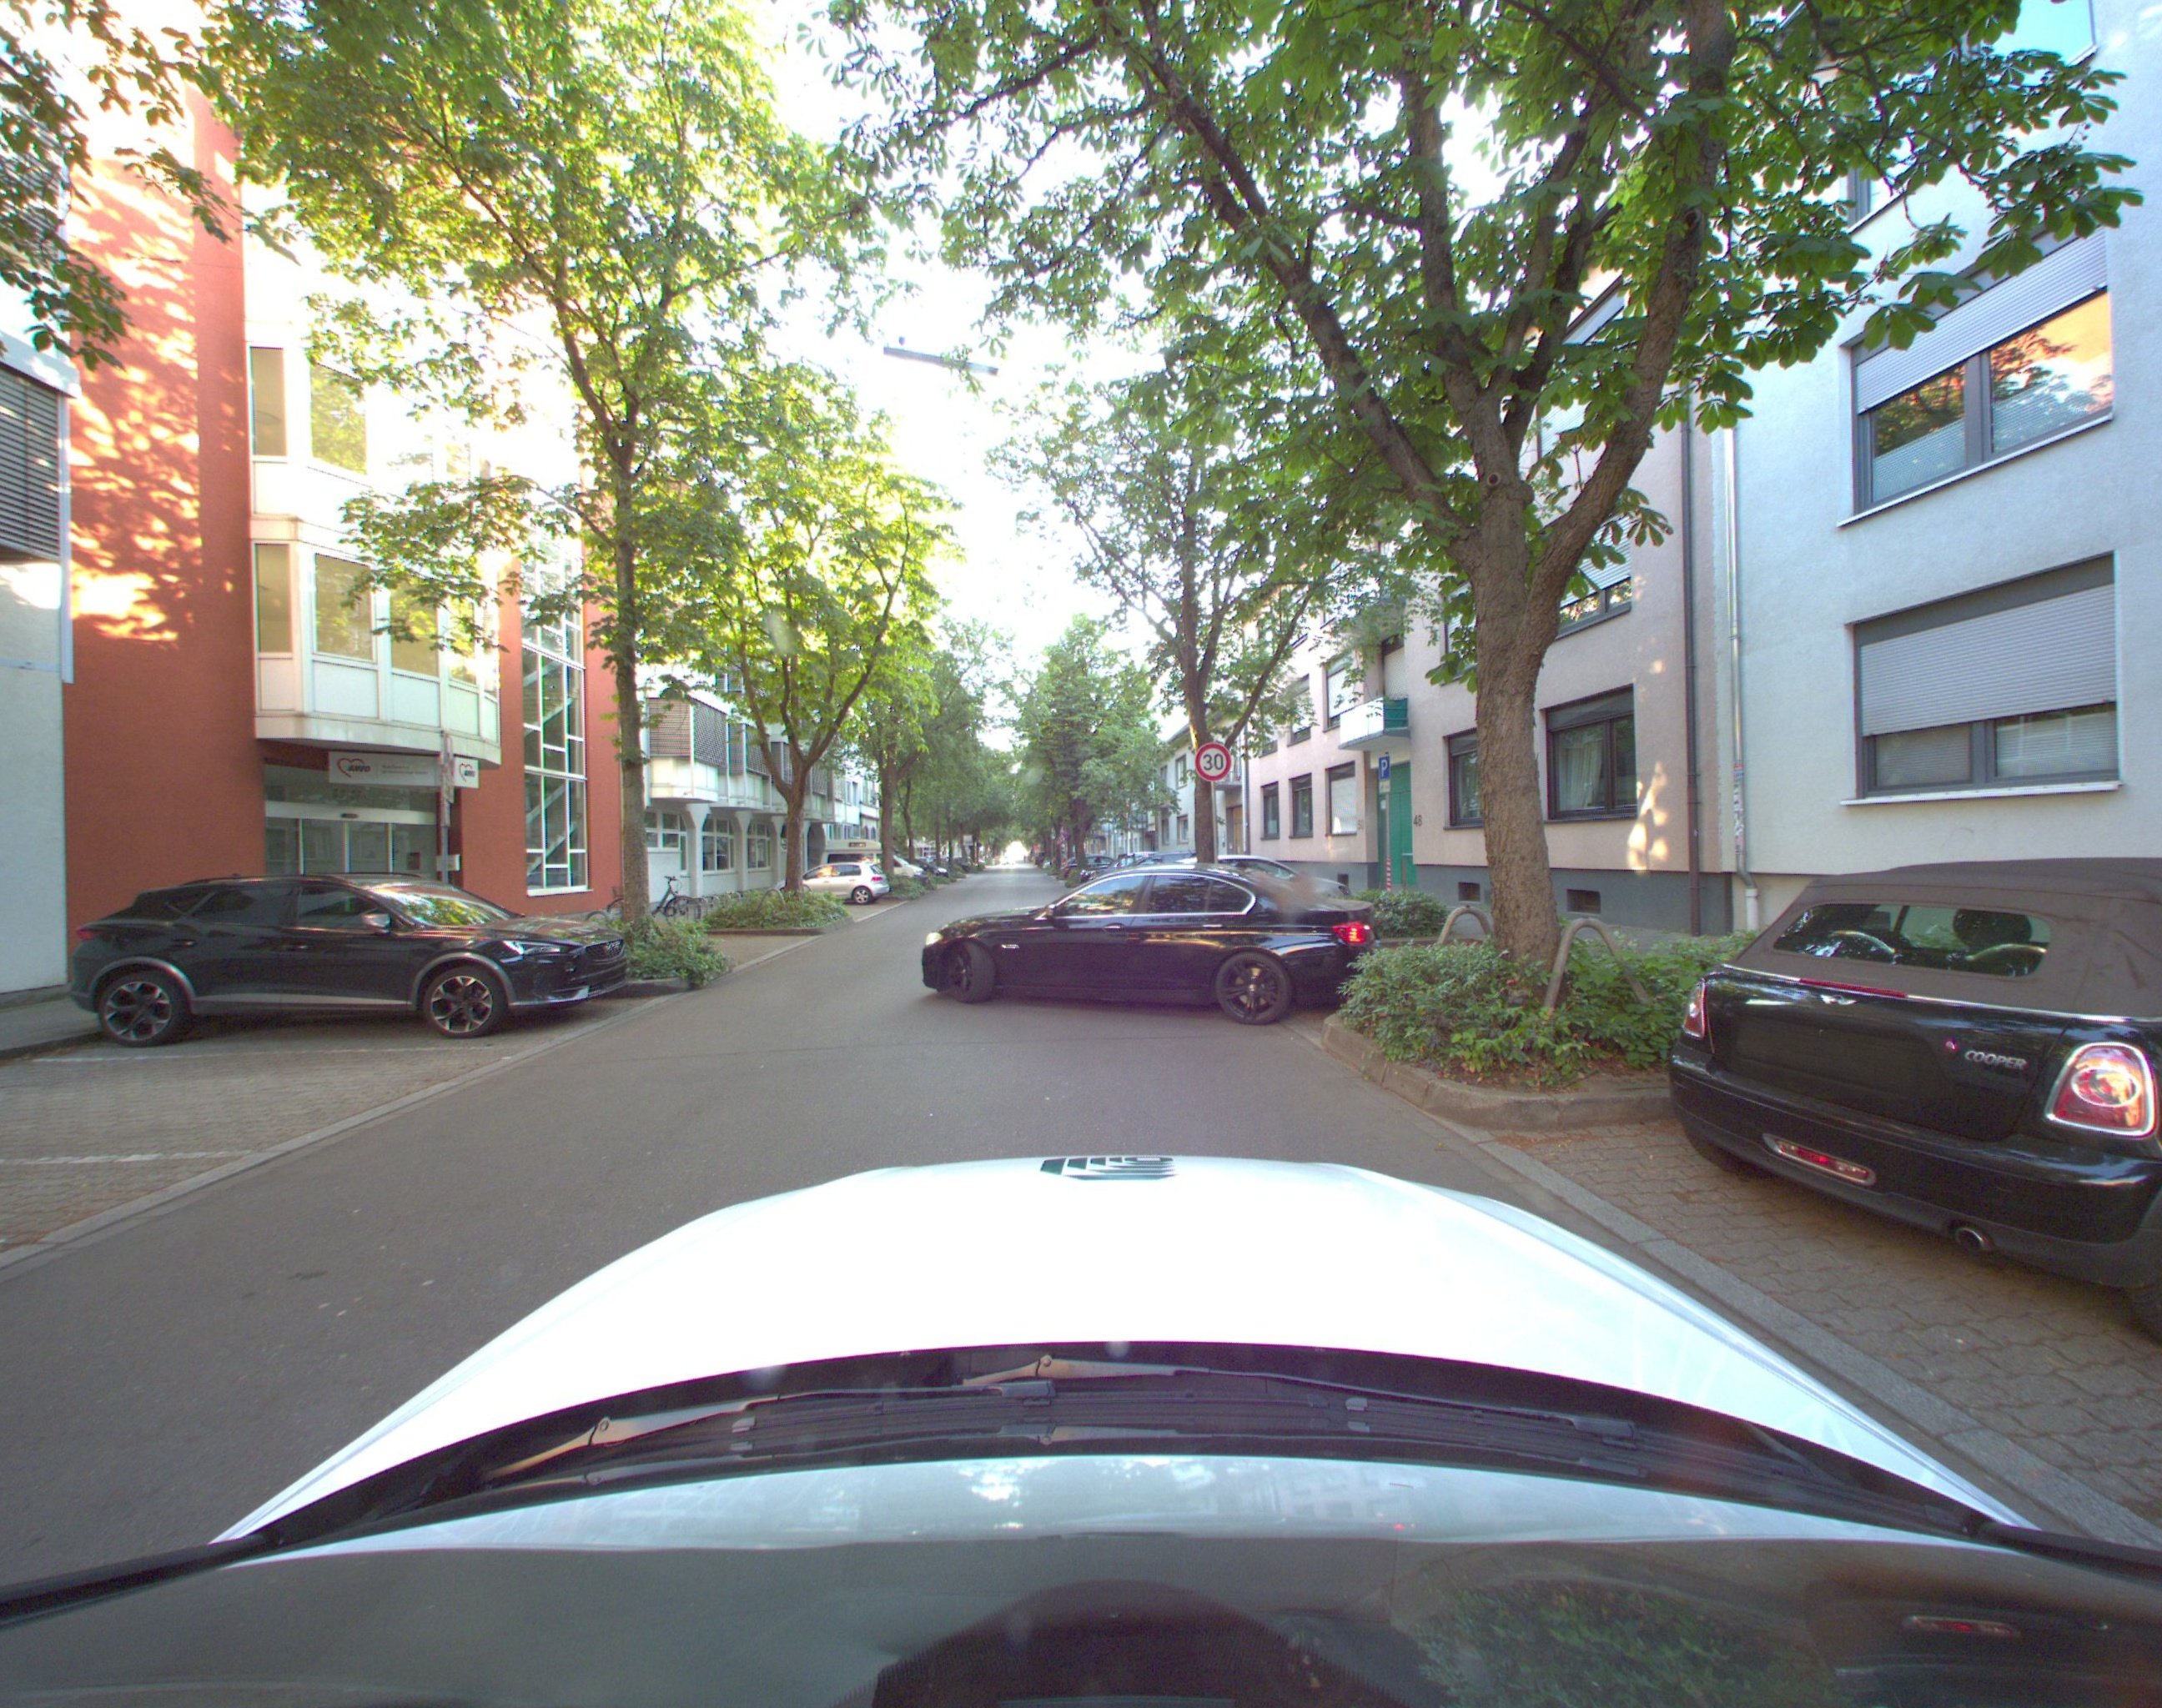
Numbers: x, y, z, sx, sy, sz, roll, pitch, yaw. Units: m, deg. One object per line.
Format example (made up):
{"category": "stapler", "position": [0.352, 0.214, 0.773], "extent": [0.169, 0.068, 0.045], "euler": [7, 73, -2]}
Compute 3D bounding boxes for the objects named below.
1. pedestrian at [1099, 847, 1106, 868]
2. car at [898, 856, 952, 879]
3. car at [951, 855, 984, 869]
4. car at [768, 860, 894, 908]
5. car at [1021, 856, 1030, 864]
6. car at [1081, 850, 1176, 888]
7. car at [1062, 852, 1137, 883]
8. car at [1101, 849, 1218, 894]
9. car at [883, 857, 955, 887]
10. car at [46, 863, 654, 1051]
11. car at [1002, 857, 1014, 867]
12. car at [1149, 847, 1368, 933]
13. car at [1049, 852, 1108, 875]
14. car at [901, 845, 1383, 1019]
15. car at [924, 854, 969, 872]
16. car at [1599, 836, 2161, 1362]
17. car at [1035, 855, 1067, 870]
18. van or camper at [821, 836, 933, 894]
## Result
{"category": "pedestrian", "position": [2.069, 0.324, 78.350], "extent": [0.587, 2.013, 0.669], "euler": [-1, 0, -3]}
{"category": "car", "position": [-12.395, 1.060, 64.971], "extent": [3.959, 1.619, 1.783], "euler": [-2, 0, -4]}
{"category": "car", "position": [-14.405, 0.962, 103.340], "extent": [3.959, 1.619, 1.783], "euler": [-2, 0, -4]}
{"category": "car", "position": [-8.848, 1.032, 29.088], "extent": [3.960, 1.517, 1.783], "euler": [-2, 0, -4]}
{"category": "car", "position": [-11.386, 1.186, 167.953], "extent": [1.819, 1.530, 3.995], "euler": [-2, 0, -4]}
{"category": "car", "position": [2.077, 0.661, 36.245], "extent": [3.962, 1.527, 1.782], "euler": [-2, 0, -5]}
{"category": "car", "position": [1.018, 0.737, 45.087], "extent": [3.962, 1.527, 1.782], "euler": [-2, 0, -5]}
{"category": "car", "position": [2.805, 0.622, 29.765], "extent": [3.963, 1.476, 1.781], "euler": [-2, 0, -7]}
{"category": "car", "position": [-9.593, 1.036, 48.425], "extent": [3.960, 1.619, 1.783], "euler": [-2, 0, -4]}
{"category": "car", "position": [-7.024, 0.924, 8.277], "extent": [4.347, 1.517, 1.782], "euler": [-2, 0, -5]}
{"category": "car", "position": [-12.268, 1.375, 136.836], "extent": [1.775, 1.562, 4.162], "euler": [-1, 0, -4]}
{"category": "car", "position": [3.437, 0.670, 16.122], "extent": [3.904, 1.476, 1.661], "euler": [-2, 0, -7]}
{"category": "car", "position": [-0.173, 0.653, 56.991], "extent": [3.963, 1.527, 1.781], "euler": [-2, 0, -6]}
{"category": "car", "position": [0.647, 0.713, 8.612], "extent": [4.704, 1.480, 1.809], "euler": [-1, 0, 21]}
{"category": "car", "position": [-12.635, 0.852, 76.647], "extent": [3.959, 1.619, 1.783], "euler": [-2, 0, -4]}
{"category": "car", "position": [4.345, 0.628, 3.272], "extent": [3.608, 1.363, 1.660], "euler": [-2, 0, -8]}
{"category": "car", "position": [-3.722, 1.048, 101.057], "extent": [3.959, 1.684, 1.783], "euler": [-2, 0, -4]}
{"category": "van or camper", "position": [-9.292, 0.477, 37.422], "extent": [4.656, 2.478, 1.997], "euler": [-1, 0, -5]}
